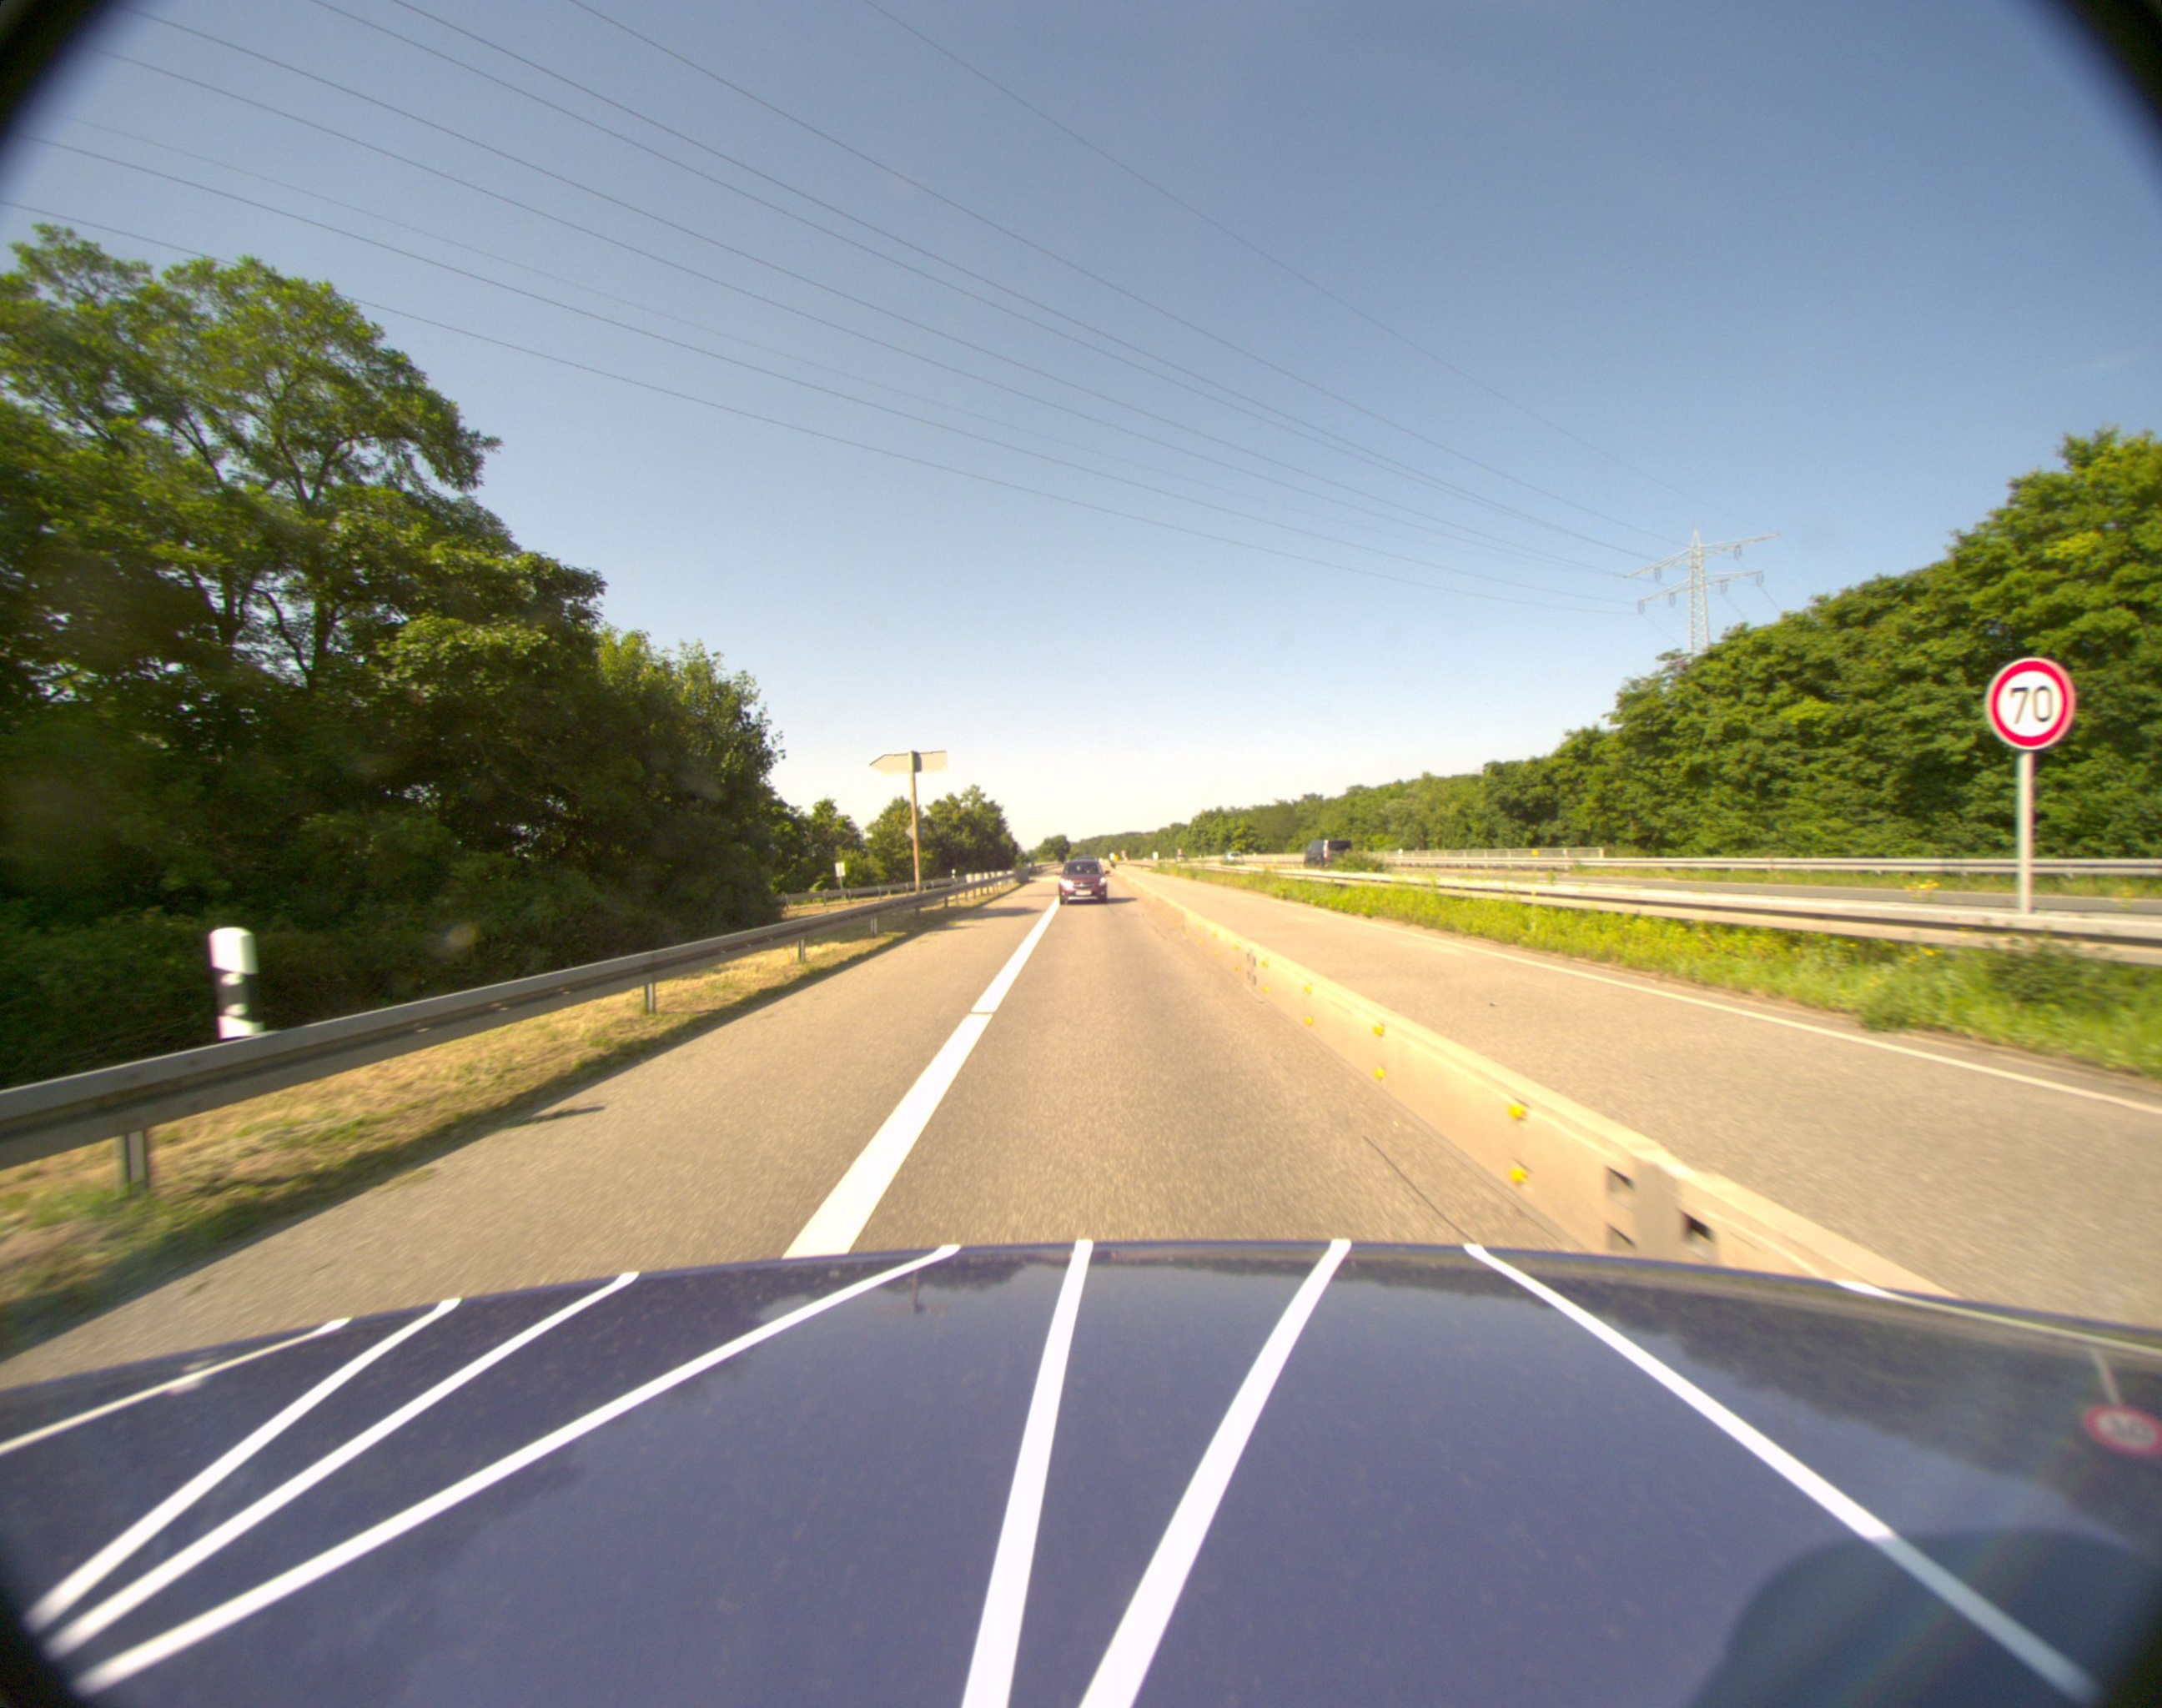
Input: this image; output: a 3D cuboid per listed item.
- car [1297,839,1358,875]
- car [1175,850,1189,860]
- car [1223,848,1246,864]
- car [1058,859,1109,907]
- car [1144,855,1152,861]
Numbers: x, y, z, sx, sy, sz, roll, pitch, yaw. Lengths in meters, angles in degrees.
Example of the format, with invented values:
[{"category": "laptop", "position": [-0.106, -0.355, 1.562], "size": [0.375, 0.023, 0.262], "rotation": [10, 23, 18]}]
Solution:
[{"category": "car", "position": [15.232, 0.185, 47.212], "size": [1.999, 2.022, 5.167], "rotation": [-1, 0, -1]}, {"category": "car", "position": [16.767, 0.235, 126.348], "size": [1.767, 1.574, 4.422], "rotation": [-2, 0, 1]}, {"category": "car", "position": [16.136, 0.192, 79.884], "size": [1.651, 1.522, 3.818], "rotation": [-2, 0, 1]}, {"category": "car", "position": [0.162, 0.947, 26.885], "size": [1.587, 1.491, 4.416], "rotation": [-1, 0, 2]}, {"category": "car", "position": [17.569, 1.037, 200.574], "size": [1.781, 1.385, 4.126], "rotation": [0, 0, 1]}]
